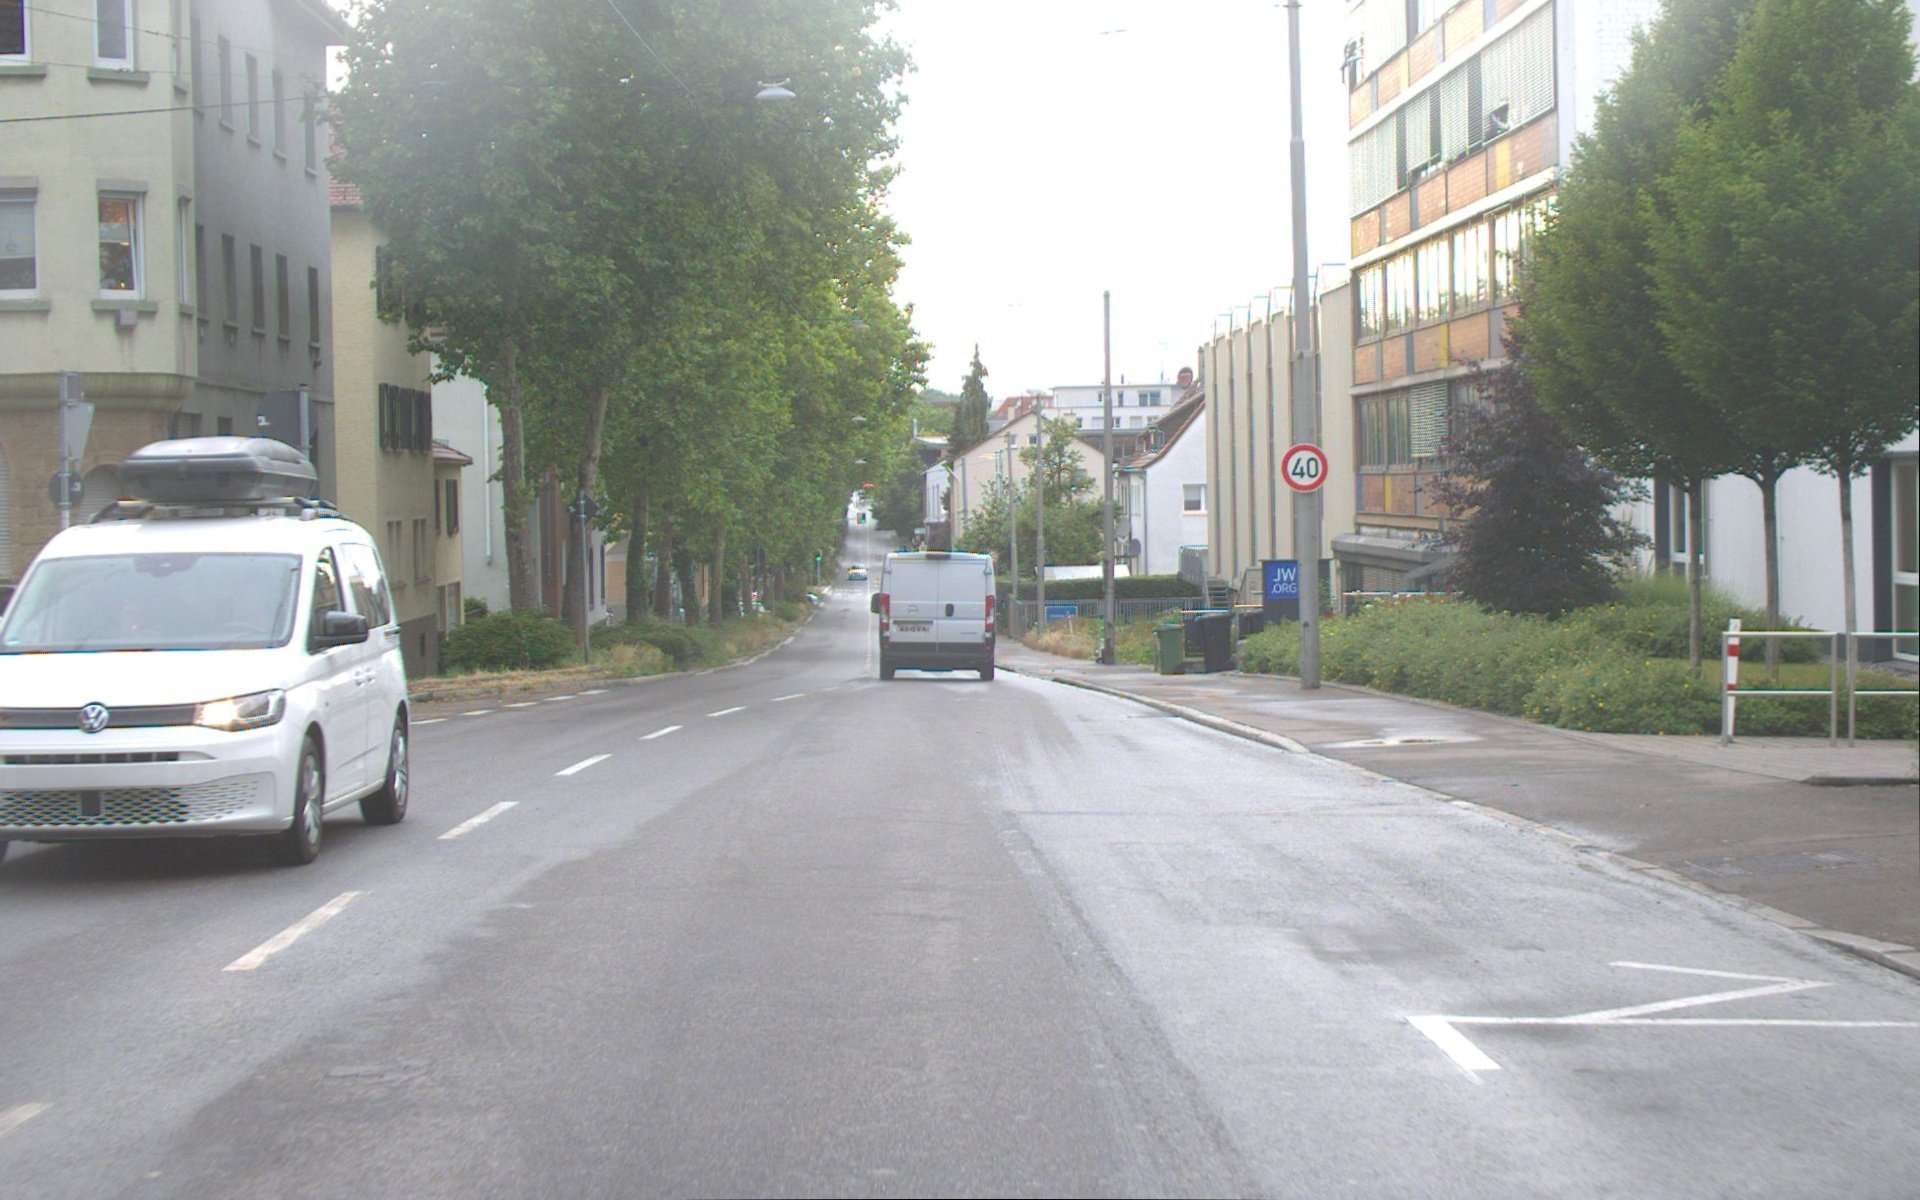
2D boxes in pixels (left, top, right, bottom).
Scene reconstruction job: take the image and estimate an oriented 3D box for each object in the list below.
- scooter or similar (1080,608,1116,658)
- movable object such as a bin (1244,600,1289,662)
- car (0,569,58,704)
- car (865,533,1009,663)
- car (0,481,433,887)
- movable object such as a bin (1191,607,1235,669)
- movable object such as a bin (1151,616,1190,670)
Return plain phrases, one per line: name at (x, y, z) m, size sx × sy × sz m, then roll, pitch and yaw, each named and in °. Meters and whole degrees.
scooter or similar at (3.258, 0.789, 81.288) m, size 0.605 × 1.158 × 1.700 m, roll -1°, pitch 0°, yaw -6°
movable object such as a bin at (5.573, 0.561, 62.573) m, size 0.695 × 1.078 × 0.778 m, roll -4°, pitch 0°, yaw 0°
car at (-14.206, 0.383, 45.061) m, size 4.182 × 1.698 × 2.000 m, roll 3°, pitch 0°, yaw -1°
car at (-0.462, -0.084, 61.848) m, size 2.346 × 2.153 × 4.778 m, roll -1°, pitch 2°, yaw -3°
car at (-4.081, 0.388, 18.292) m, size 1.882 × 1.863 × 4.453 m, roll -1°, pitch 0°, yaw -1°
movable object such as a bin at (4.601, 0.686, 62.557) m, size 0.695 × 1.078 × 0.778 m, roll -4°, pitch 0°, yaw 0°
movable object such as a bin at (3.820, 0.779, 62.392) m, size 0.619 × 0.933 × 0.686 m, roll -4°, pitch 0°, yaw 0°
